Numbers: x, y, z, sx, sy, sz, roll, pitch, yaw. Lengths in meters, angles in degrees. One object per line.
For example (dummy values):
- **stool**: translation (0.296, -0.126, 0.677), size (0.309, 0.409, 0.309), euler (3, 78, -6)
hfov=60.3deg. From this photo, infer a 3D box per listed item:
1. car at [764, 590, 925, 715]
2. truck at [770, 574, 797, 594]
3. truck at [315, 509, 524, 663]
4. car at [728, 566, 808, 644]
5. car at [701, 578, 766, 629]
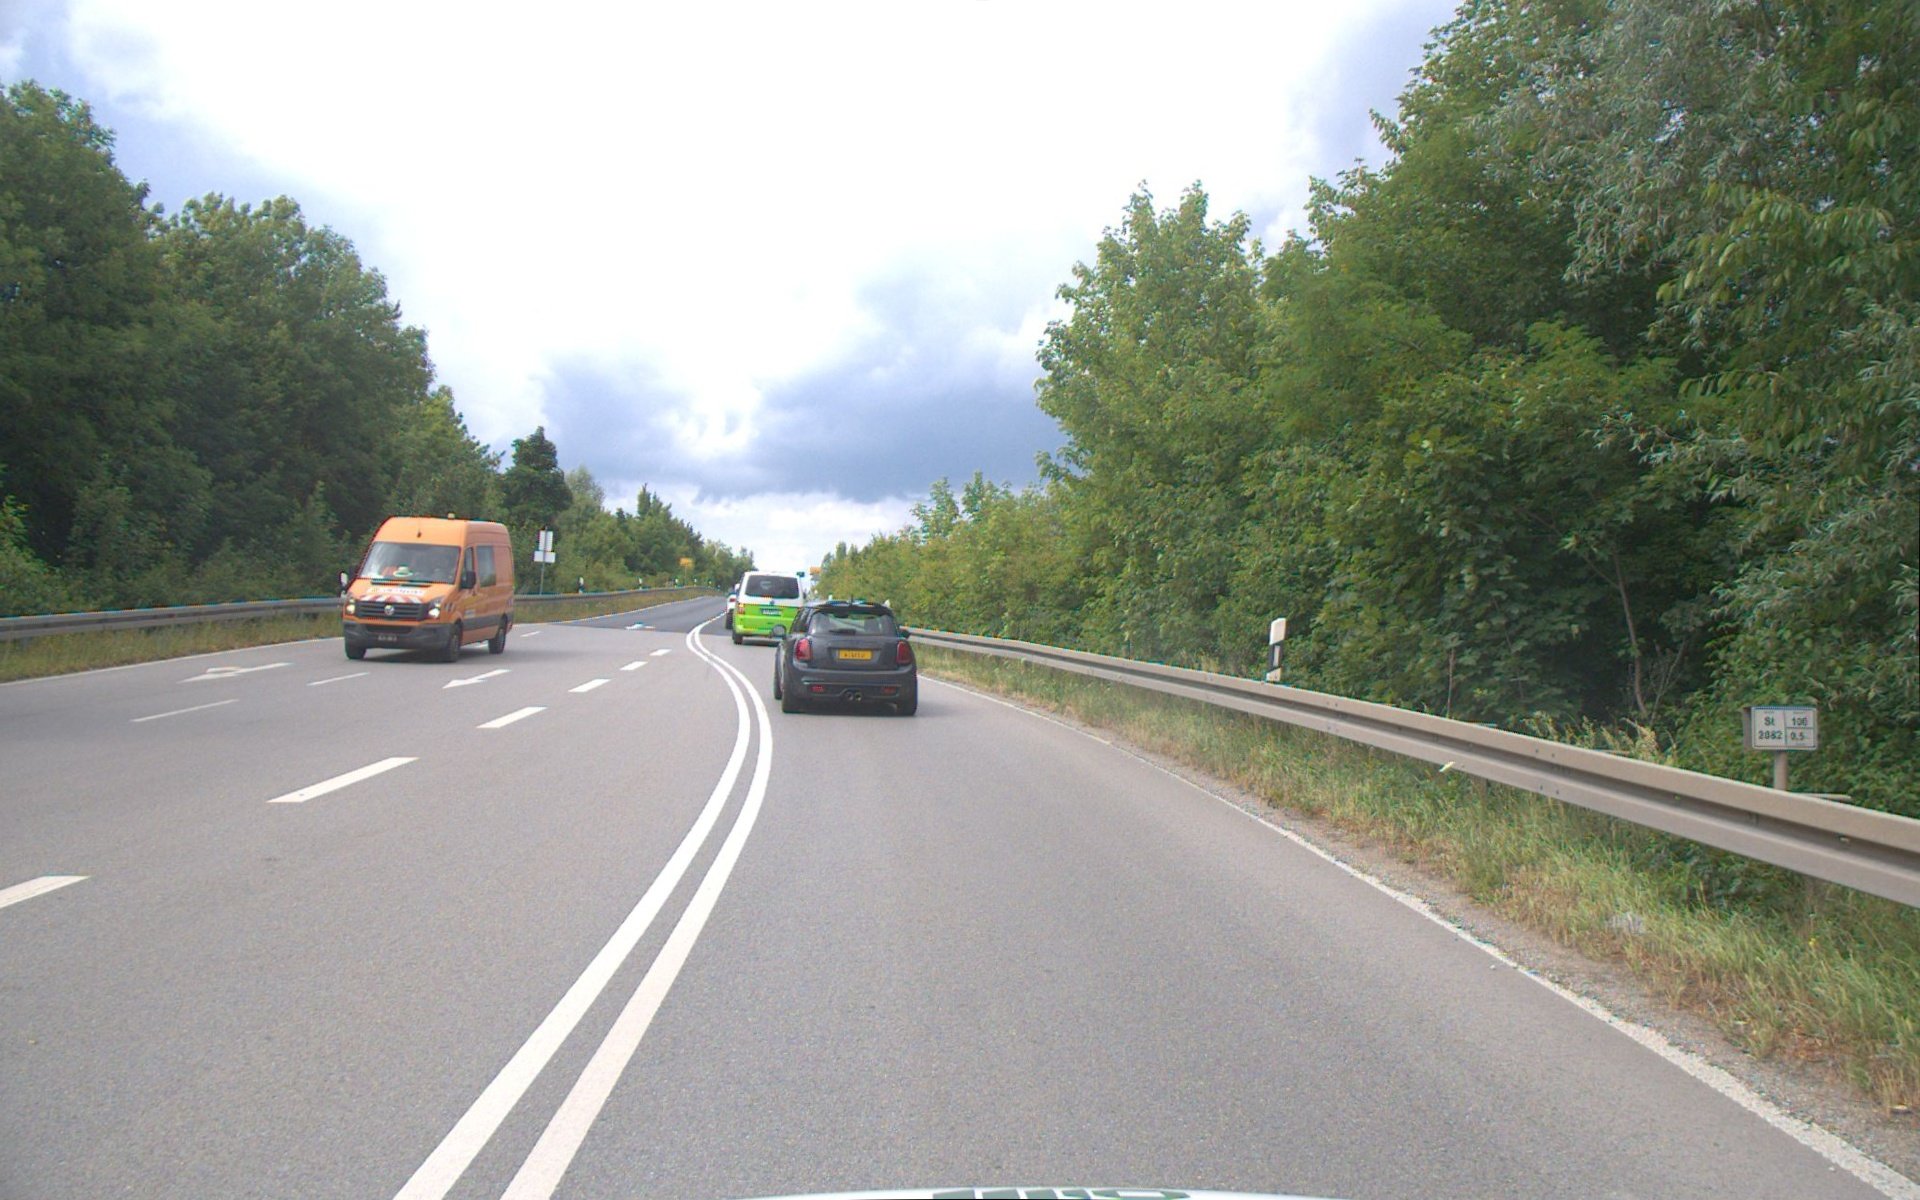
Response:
- **car**: translation (-1.647, 0.633, 22.298), size (1.701, 1.481, 3.990), euler (2, 0, -10)
- **truck**: translation (-22.822, -2.079, 214.479), size (2.852, 2.413, 10.445), euler (1, 0, -3)
- **truck**: translation (-10.299, -0.282, 32.108), size (2.270, 2.646, 6.020), euler (1, 1, -3)
- **car**: translation (-5.311, 0.121, 45.368), size (1.985, 2.048, 3.991), euler (1, 0, -9)
- **car**: translation (-7.862, 0.111, 57.619), size (1.949, 1.646, 4.149), euler (2, 0, -5)
